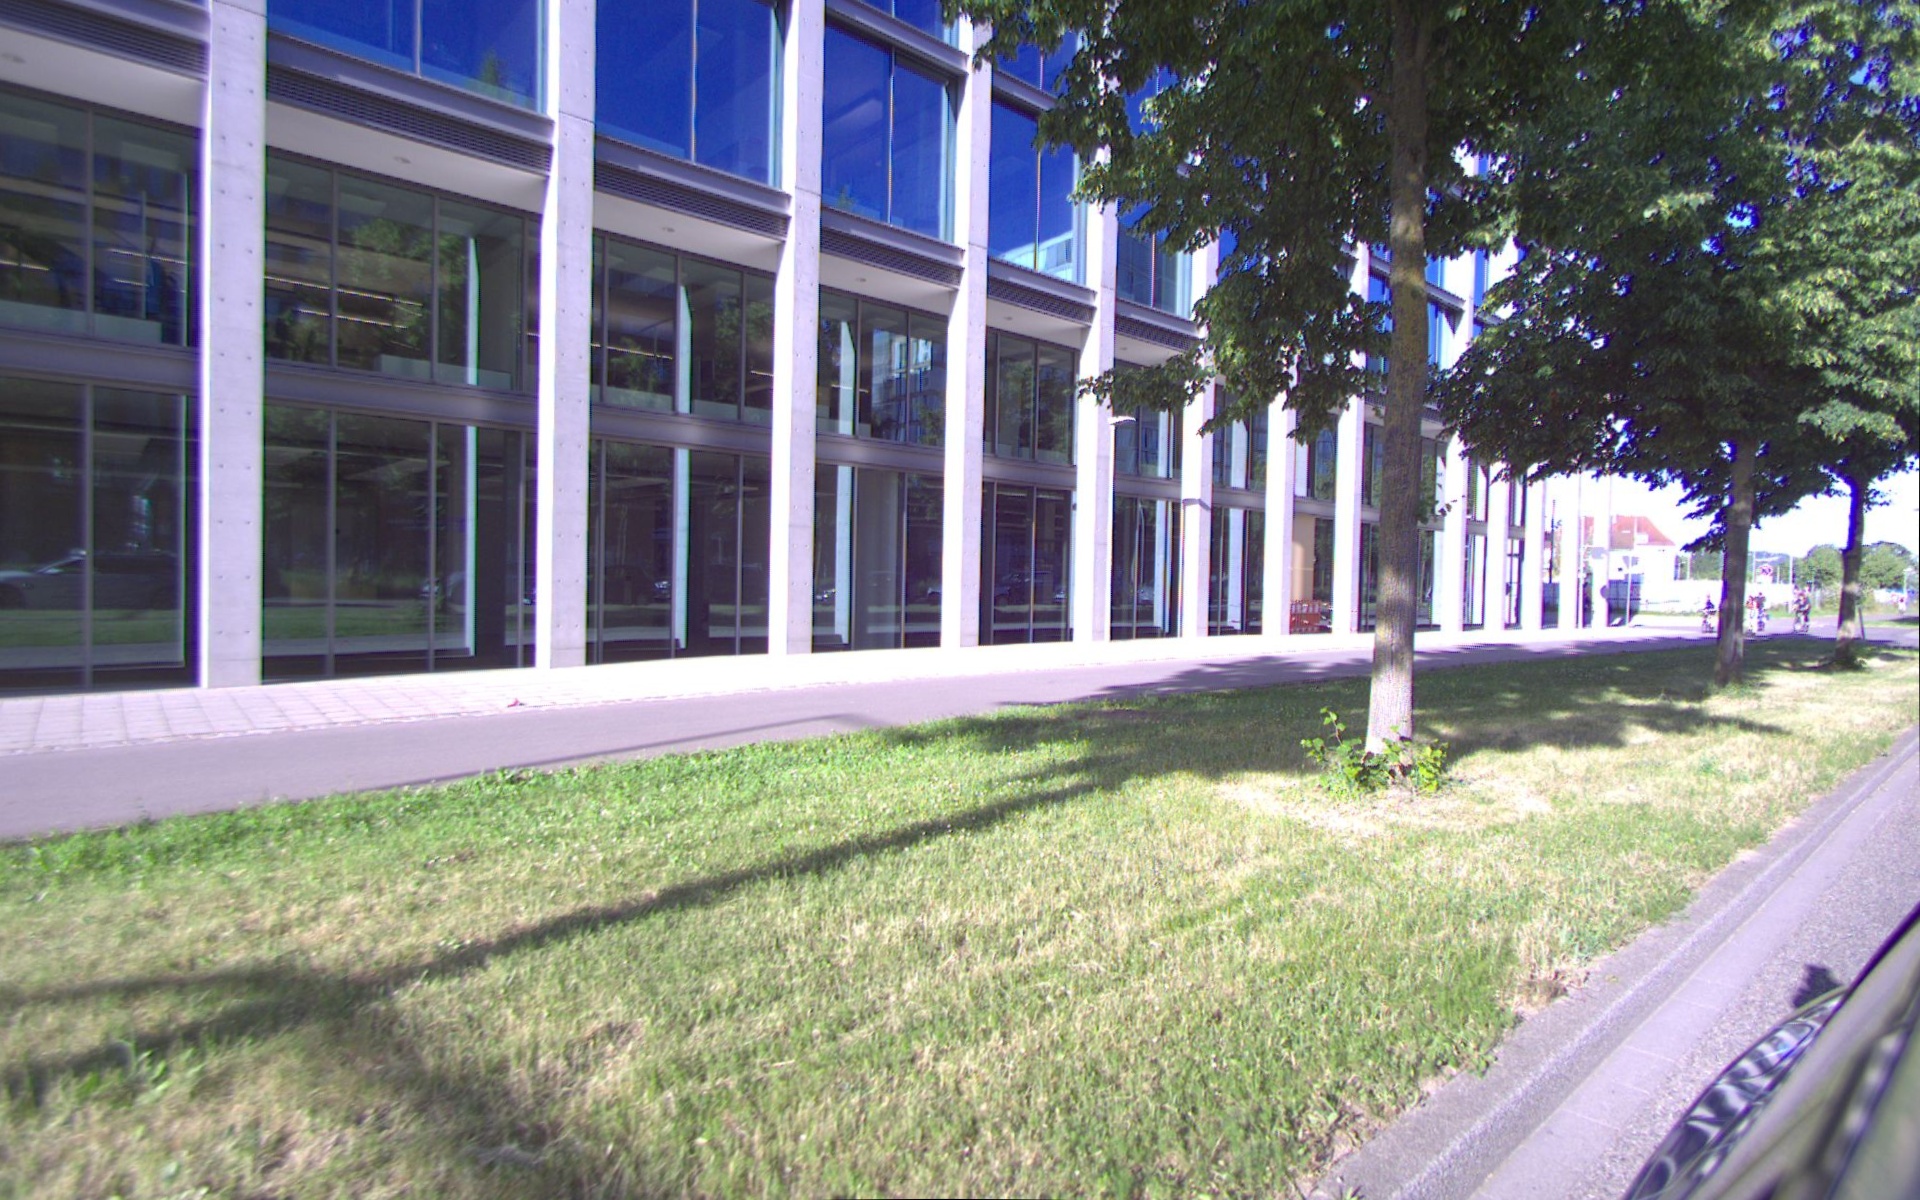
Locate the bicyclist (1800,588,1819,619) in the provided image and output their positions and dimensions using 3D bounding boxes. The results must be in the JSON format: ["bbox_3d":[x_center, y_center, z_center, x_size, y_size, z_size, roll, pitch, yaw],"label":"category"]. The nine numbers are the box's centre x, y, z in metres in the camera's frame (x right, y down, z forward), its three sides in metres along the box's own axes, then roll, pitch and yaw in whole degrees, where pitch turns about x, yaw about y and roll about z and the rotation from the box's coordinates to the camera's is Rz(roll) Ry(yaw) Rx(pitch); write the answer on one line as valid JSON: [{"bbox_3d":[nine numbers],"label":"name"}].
[{"bbox_3d":[36.043,0.140,42.925,0.512,1.305,0.534,-1,1,-40],"label":"bicyclist"}]

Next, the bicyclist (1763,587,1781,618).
[{"bbox_3d":[35.290,0.113,43.986,0.449,1.305,0.534,-1,1,-40],"label":"bicyclist"}]

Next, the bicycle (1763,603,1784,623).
[{"bbox_3d":[35.499,0.545,44.169,1.321,0.828,0.464,-1,1,-41],"label":"bicycle"}]

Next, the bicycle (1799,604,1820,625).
[{"bbox_3d":[36.084,0.619,42.973,1.321,0.828,0.464,-1,1,-41],"label":"bicycle"}]

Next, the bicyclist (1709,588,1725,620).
[{"bbox_3d":[31.030,0.166,41.470,0.410,1.305,0.448,-1,1,-40],"label":"bicyclist"}]

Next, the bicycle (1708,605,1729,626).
[{"bbox_3d":[31.195,0.631,41.613,1.297,0.828,0.415,-1,1,-41],"label":"bicycle"}]

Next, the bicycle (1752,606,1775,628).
[{"bbox_3d":[32.199,0.658,40.546,1.321,0.828,0.464,-1,1,-41],"label":"bicycle"}]

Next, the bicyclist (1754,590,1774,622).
[{"bbox_3d":[32.143,0.229,40.480,0.499,1.232,0.534,-1,1,-40],"label":"bicyclist"}]
